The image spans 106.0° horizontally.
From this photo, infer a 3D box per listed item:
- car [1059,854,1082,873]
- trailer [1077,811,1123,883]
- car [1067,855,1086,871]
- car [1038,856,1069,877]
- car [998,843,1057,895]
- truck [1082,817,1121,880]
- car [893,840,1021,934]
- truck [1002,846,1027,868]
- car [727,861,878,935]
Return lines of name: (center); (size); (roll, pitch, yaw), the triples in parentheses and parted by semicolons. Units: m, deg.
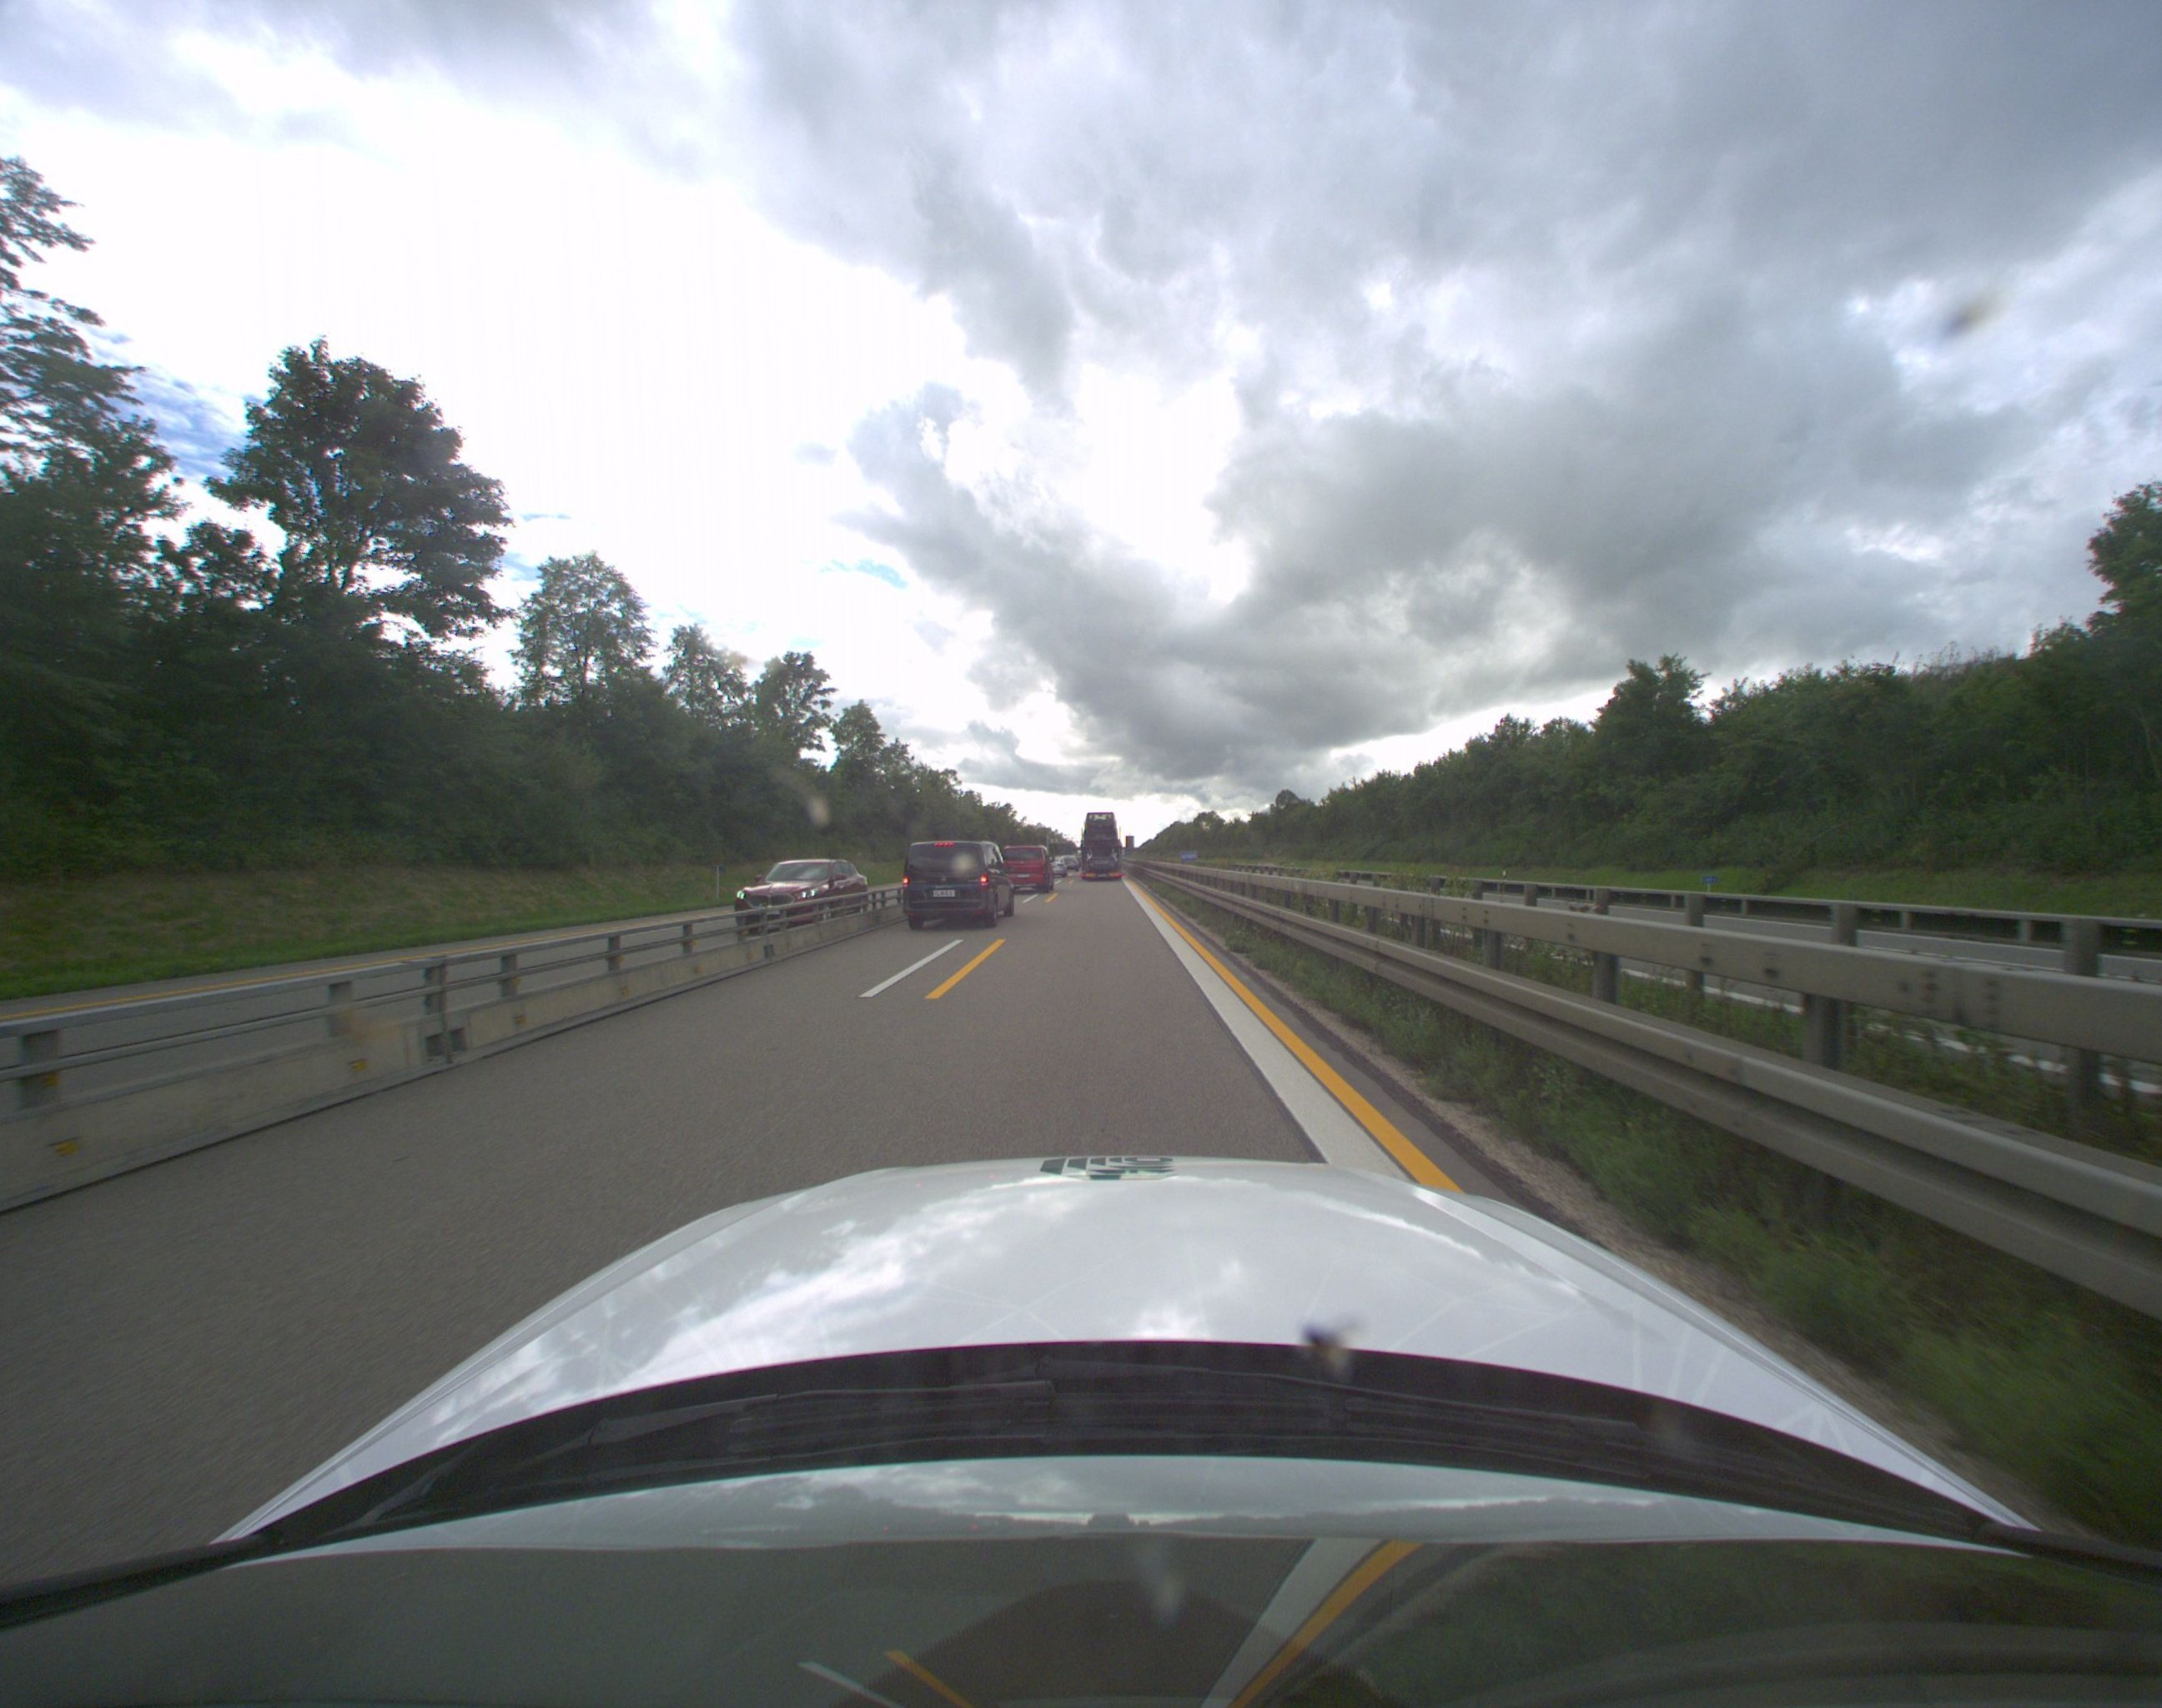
car: (-1.011, 0.878, 80.037); (2.024, 1.757, 4.578); (-2, 0, 1)
trailer: (1.292, -0.381, 52.034); (2.506, 4.105, 11.118); (-1, 0, 2)
car: (-0.480, 1.018, 93.888); (2.024, 1.757, 4.578); (-2, 0, 0)
car: (-1.939, 0.909, 59.402); (2.024, 1.430, 4.578); (-2, 0, 1)
car: (-2.208, 0.618, 34.746); (2.023, 2.013, 4.579); (-2, 0, 1)
truck: (1.492, -0.354, 56.780); (2.506, 4.105, 5.688); (-1, 0, 2)
car: (-2.727, 0.685, 19.357); (1.986, 1.843, 5.611); (-2, 0, 1)
truck: (-8.609, 0.360, 106.309); (2.480, 2.718, 6.670); (-1, 0, 2)
car: (-6.251, 0.915, 18.914); (1.928, 1.491, 4.588); (0, 0, 0)
